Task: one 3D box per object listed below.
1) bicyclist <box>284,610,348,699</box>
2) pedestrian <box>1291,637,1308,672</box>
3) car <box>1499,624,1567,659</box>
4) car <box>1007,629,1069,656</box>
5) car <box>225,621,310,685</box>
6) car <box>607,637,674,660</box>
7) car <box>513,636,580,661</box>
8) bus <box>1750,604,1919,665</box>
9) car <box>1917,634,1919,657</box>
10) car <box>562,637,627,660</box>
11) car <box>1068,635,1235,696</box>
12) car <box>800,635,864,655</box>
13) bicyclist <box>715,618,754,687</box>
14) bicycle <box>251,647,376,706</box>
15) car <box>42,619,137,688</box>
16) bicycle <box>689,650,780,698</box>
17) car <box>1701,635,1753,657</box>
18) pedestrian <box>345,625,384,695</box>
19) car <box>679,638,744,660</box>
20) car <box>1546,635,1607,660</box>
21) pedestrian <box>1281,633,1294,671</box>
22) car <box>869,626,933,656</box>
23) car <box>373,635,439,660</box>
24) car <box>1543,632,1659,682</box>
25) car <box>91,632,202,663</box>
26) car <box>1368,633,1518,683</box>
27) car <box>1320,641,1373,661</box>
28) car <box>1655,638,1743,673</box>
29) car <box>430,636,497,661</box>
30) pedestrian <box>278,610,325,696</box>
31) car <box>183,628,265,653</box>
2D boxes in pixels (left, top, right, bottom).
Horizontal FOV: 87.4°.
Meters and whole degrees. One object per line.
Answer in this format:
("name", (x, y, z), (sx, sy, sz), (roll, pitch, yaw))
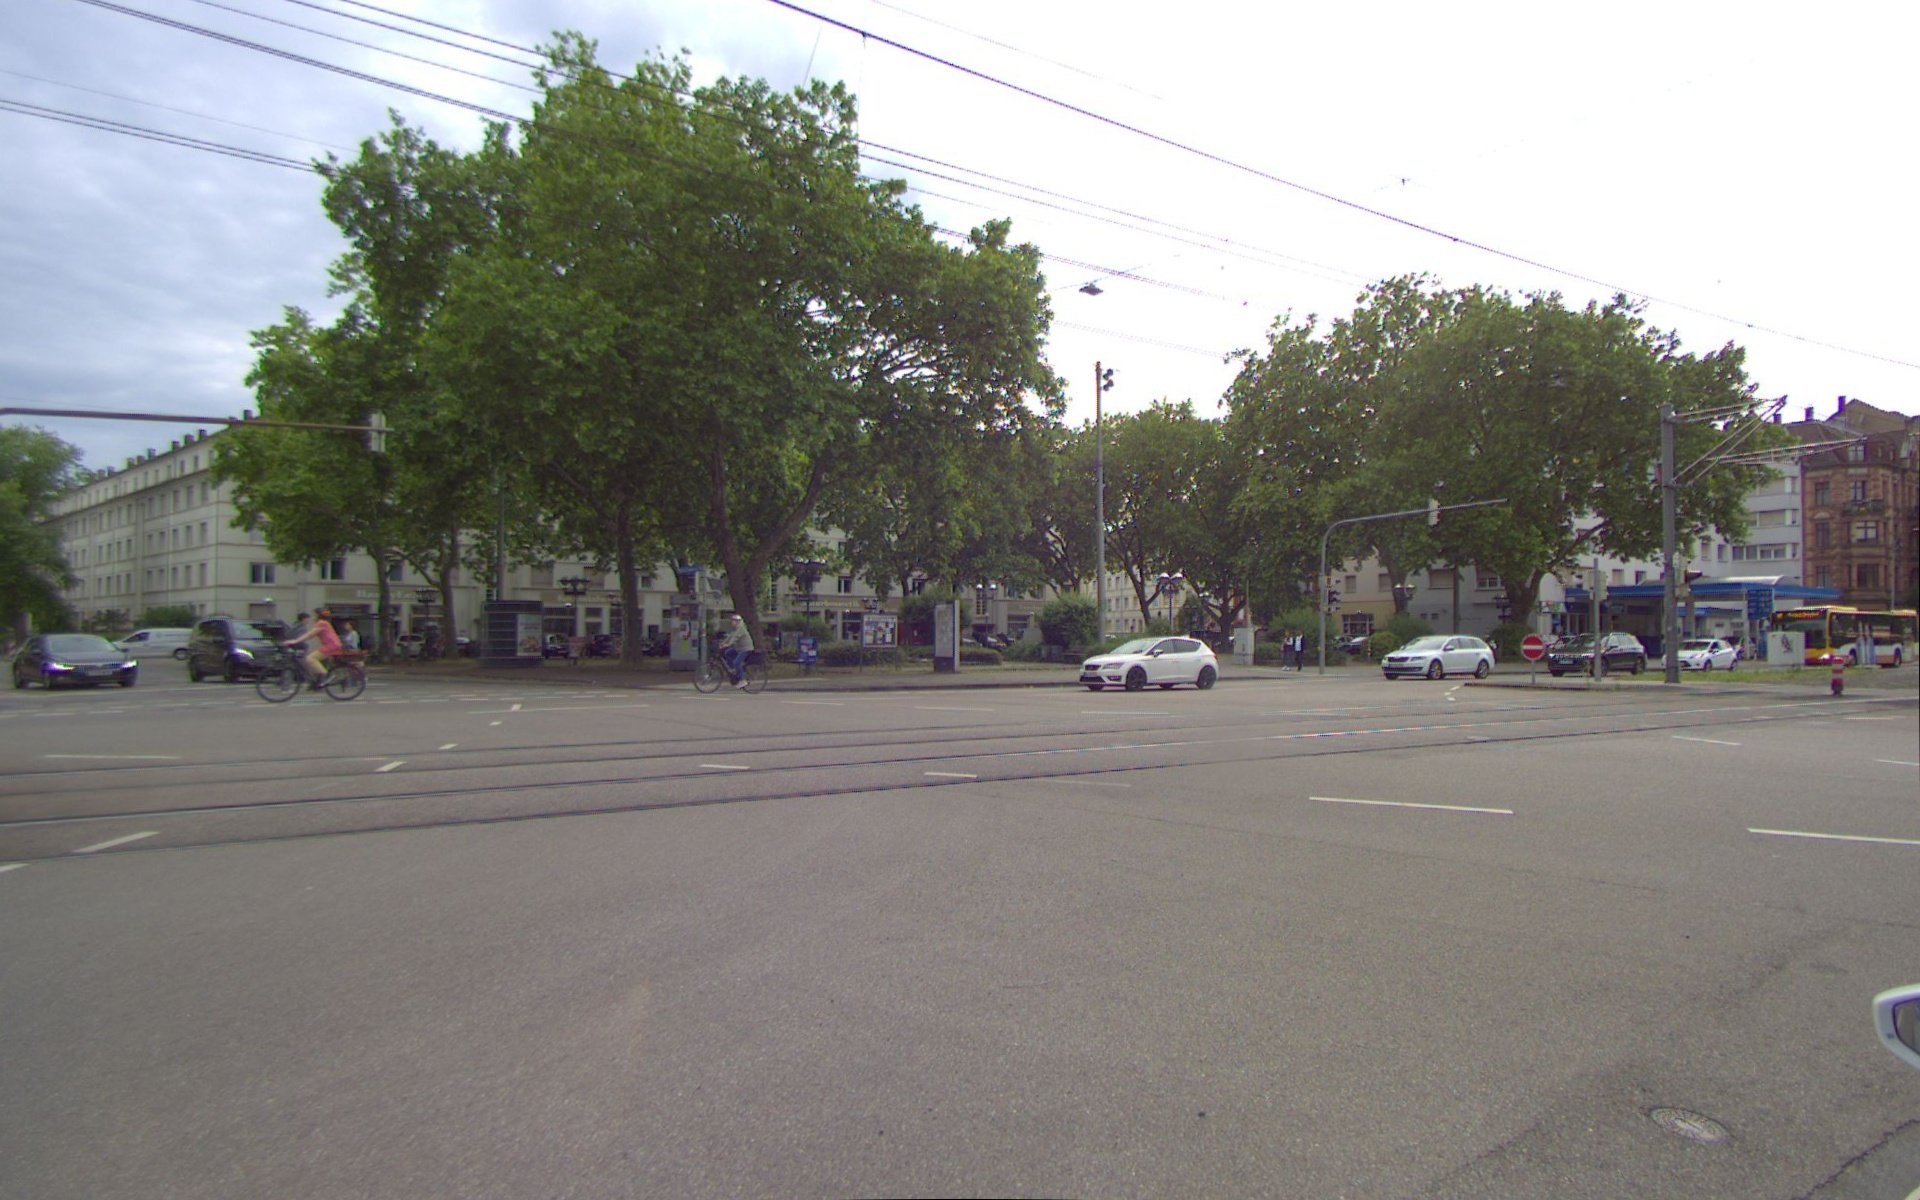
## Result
("bicyclist", (-12.355, 1.037, 19.301), (0.983, 1.659, 0.702), (1, -3, -32))
("pedestrian", (13.409, 2.138, 39.618), (0.465, 1.343, 0.452), (1, -2, -37))
("car", (35.159, 2.532, 61.623), (3.954, 2.040, 1.984), (1, -2, -31))
("car", (6.301, 3.400, 81.264), (4.764, 2.129, 2.072), (-2, -2, 43))
("car", (-20.422, 1.579, 29.572), (1.895, 1.741, 3.701), (1, -4, -37))
("car", (-20.790, 3.109, 65.310), (4.764, 1.408, 2.072), (-2, -2, 43))
("car", (-25.301, 2.939, 61.443), (4.764, 1.408, 1.989), (-2, -2, 43))
("bus", (45.942, 1.751, 52.419), (12.236, 2.894, 3.265), (1, -1, -31))
("car", (59.269, 2.742, 60.289), (3.845, 1.376, 1.694), (1, -1, -31))
("car", (-23.262, 3.039, 63.874), (4.764, 1.408, 1.989), (-2, -2, 43))
("car", (5.211, 1.714, 27.219), (4.363, 1.467, 1.832), (1, -1, -31))
("car", (-9.375, 3.251, 73.288), (4.764, 1.408, 2.072), (-2, -2, 43))
("bicyclist", (-5.317, 1.237, 23.654), (0.748, 1.582, 0.580), (1, -4, -31))
("bicycle", (-12.364, 1.457, 19.281), (1.970, 1.078, 0.723), (2, -4, -32))
("car", (-23.660, 1.478, 27.403), (1.649, 1.741, 3.701), (1, -4, -37))
("bicycle", (-5.286, 1.724, 23.587), (1.970, 1.078, 0.723), (2, -4, -31))
("car", (52.167, 3.109, 68.306), (3.364, 1.376, 1.694), (1, -1, -31))
("pedestrian", (-14.882, 1.479, 25.103), (0.749, 1.712, 0.799), (1, -2, -35))
("car", (-16.891, 3.290, 68.167), (4.764, 1.408, 2.072), (-2, -2, 43))
("car", (36.281, 2.797, 59.088), (3.364, 1.376, 1.694), (1, -1, -31))
("pedestrian", (13.008, 2.068, 39.884), (0.370, 1.498, 0.358), (1, -2, -37))
("car", (-4.424, 3.045, 74.786), (4.764, 2.129, 2.072), (-2, -2, 43))
("car", (-32.295, 2.750, 58.524), (4.764, 1.408, 1.989), (-2, -2, 43))
("car", (24.909, 2.163, 38.978), (5.090, 1.807, 1.694), (1, -1, -31))
("car", (-45.943, 2.641, 56.876), (4.790, 1.685, 1.978), (2, -2, -39))
("car", (16.425, 1.918, 34.047), (5.637, 1.546, 1.831), (1, -1, -31))
("car", (28.829, 3.804, 74.926), (3.845, 1.376, 1.694), (1, -1, -31))
("car", (31.871, 2.355, 43.294), (3.845, 1.416, 1.694), (1, -1, -31))
("car", (-29.561, 2.858, 59.763), (4.764, 1.408, 1.989), (-2, -2, 43))
("pedestrian", (-15.037, 1.196, 22.941), (0.678, 1.911, 0.686), (1, 0, 36))
("car", (-45.400, 2.503, 62.002), (3.919, 1.505, 1.804), (0, -1, 9))
